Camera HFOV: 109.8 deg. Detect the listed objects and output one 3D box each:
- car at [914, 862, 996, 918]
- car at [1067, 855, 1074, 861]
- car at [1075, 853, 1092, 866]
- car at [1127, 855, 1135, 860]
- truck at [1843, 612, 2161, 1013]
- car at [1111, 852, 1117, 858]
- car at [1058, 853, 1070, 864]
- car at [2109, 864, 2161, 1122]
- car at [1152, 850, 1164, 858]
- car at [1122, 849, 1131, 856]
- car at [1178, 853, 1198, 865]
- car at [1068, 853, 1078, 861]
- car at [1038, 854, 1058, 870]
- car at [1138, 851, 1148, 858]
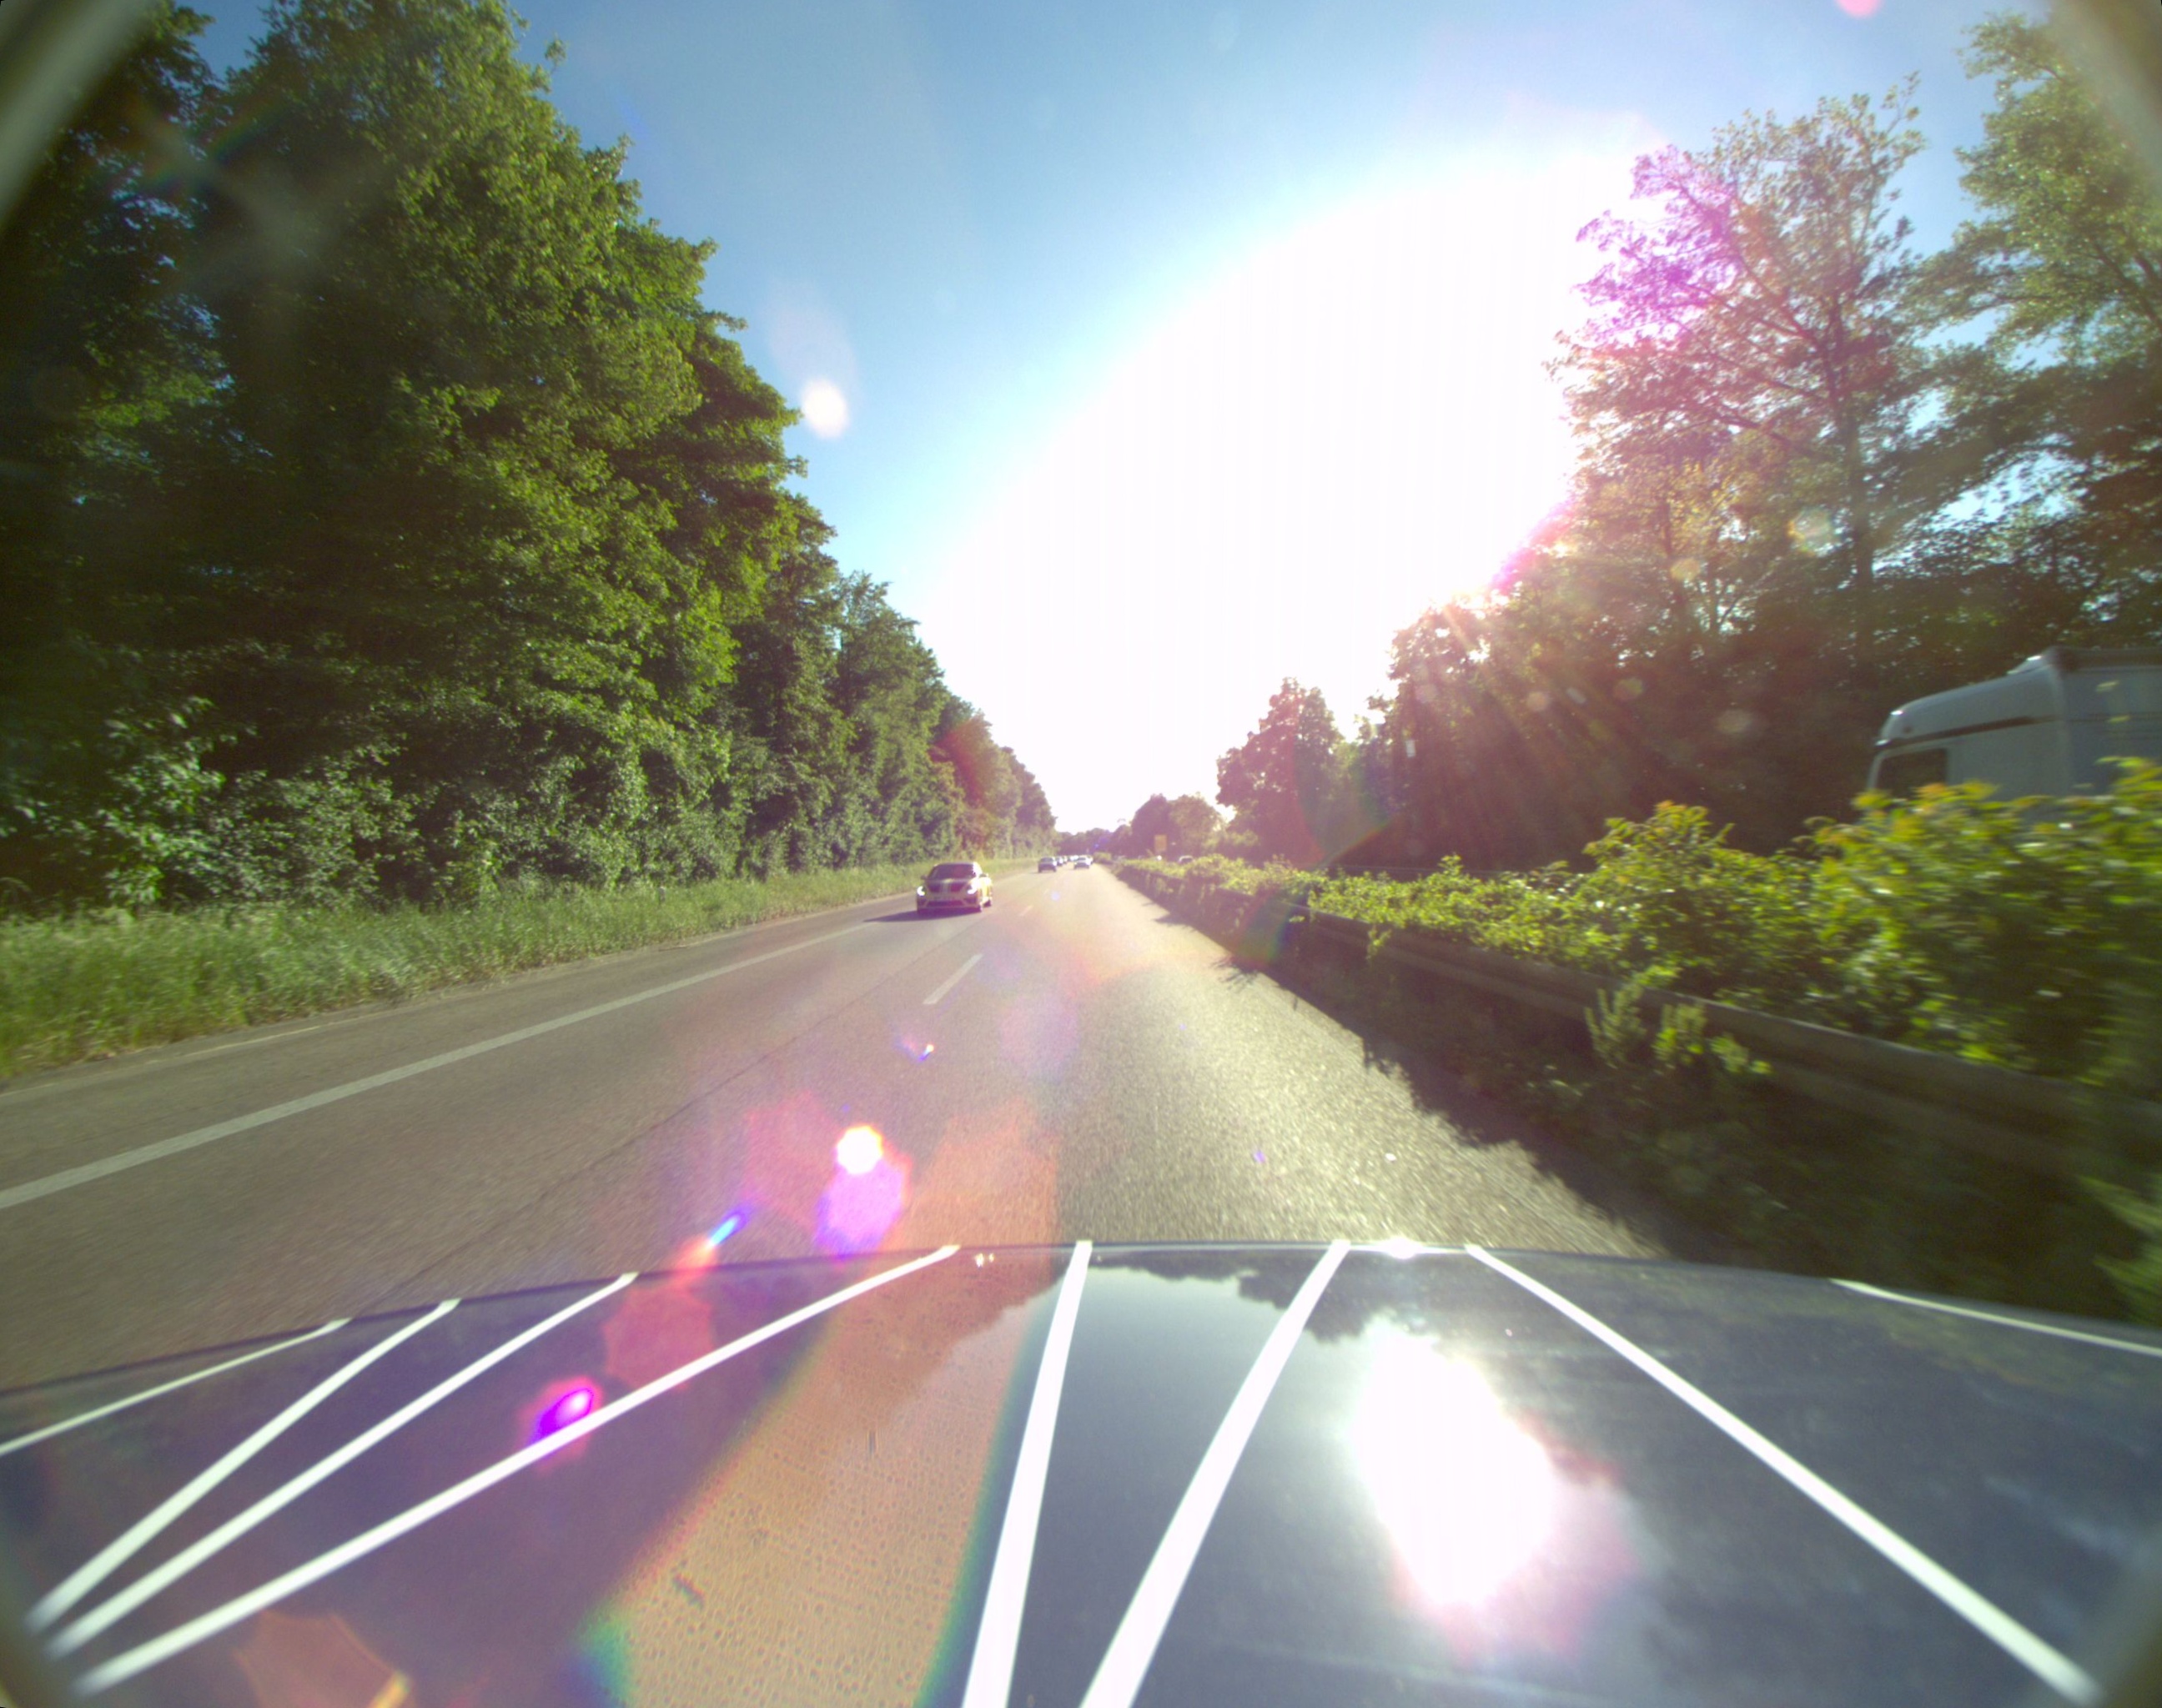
[{"bbox_3d":[-3.713,1.011,22.991,1.795,1.440,3.877,-2,0,0],"label":"car"},{"bbox_3d":[-2.745,0.915,194.136,1.795,1.440,3.877,-2,0,0],"label":"car"},{"bbox_3d":[0.352,0.636,89.475,1.890,1.440,3.877,-2,0,1],"label":"car"},{"bbox_3d":[14.358,1.005,218.388,1.752,1.486,3.976,-2,1,0],"label":"car"},{"bbox_3d":[11.958,-0.414,4.843,2.776,3.932,11.465,-2,1,1],"label":"truck"},{"bbox_3d":[9.927,0.278,227.780,1.642,1.694,3.792,-2,1,0],"label":"car"},{"bbox_3d":[-2.518,0.666,113.211,1.795,1.440,3.877,-2,0,0],"label":"car"},{"bbox_3d":[7.861,0.906,2.810,1.800,1.659,4.697,-2,1,1],"label":"car"},{"bbox_3d":[13.442,-0.025,132.552,1.649,1.215,4.262,-2,0,0],"label":"car"},{"bbox_3d":[10.262,-0.360,171.713,1.752,1.418,5.203,-2,1,0],"label":"car"},{"bbox_3d":[12.929,0.569,91.675,1.737,1.400,4.556,-2,0,0],"label":"car"},{"bbox_3d":[-1.548,0.597,141.151,1.795,1.440,3.877,-2,0,0],"label":"car"},{"bbox_3d":[-3.271,0.777,76.430,1.795,1.440,3.877,-2,0,0],"label":"car"},{"bbox_3d":[13.159,0.123,160.908,1.752,1.418,4.135,-2,1,0],"label":"car"}]
